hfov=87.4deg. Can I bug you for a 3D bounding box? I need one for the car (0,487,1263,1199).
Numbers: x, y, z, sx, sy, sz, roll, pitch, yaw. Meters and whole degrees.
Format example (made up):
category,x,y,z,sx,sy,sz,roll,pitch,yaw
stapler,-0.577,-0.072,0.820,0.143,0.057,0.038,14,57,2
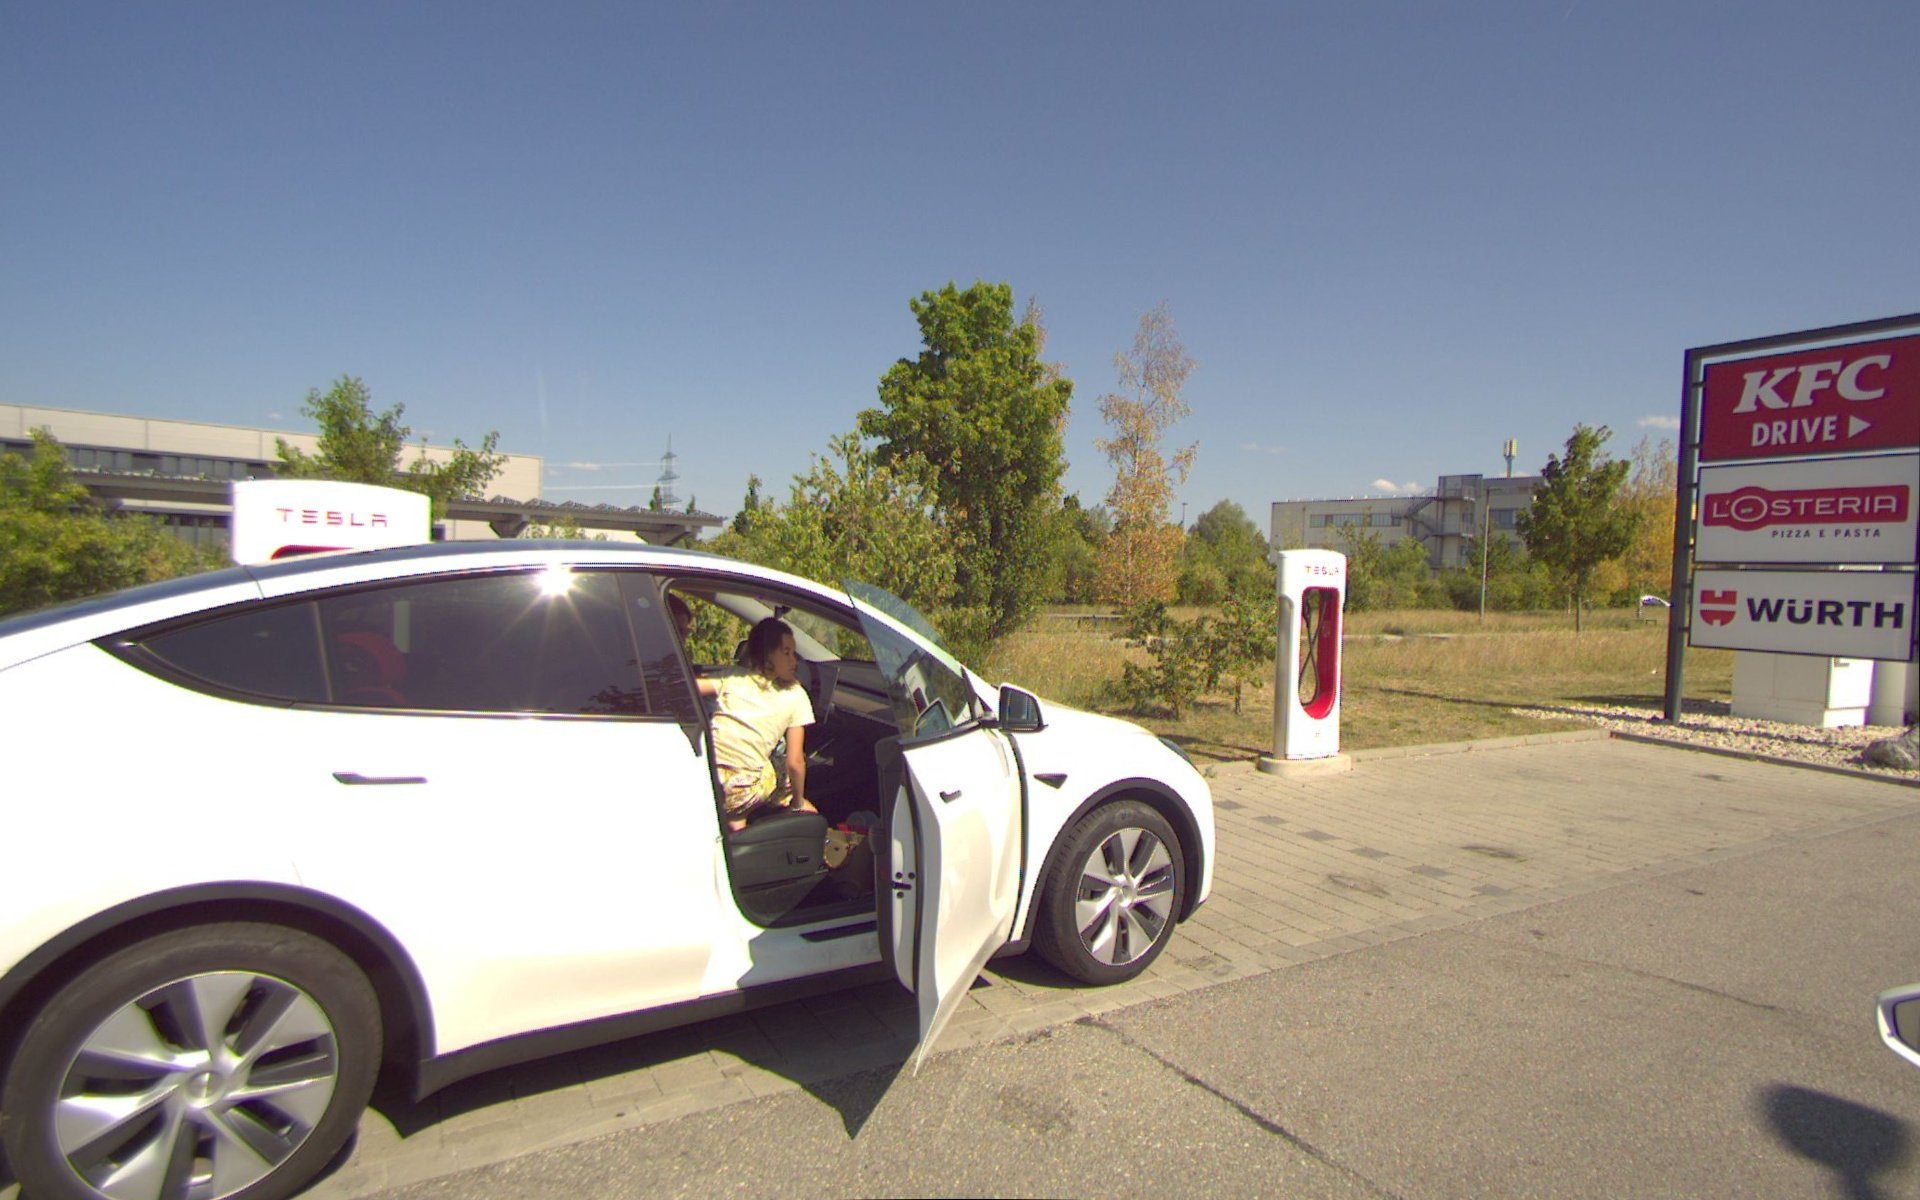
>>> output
category,x,y,z,sx,sy,sz,roll,pitch,yaw
car,-1.139,0.573,3.702,4.440,1.622,1.853,1,2,-33
